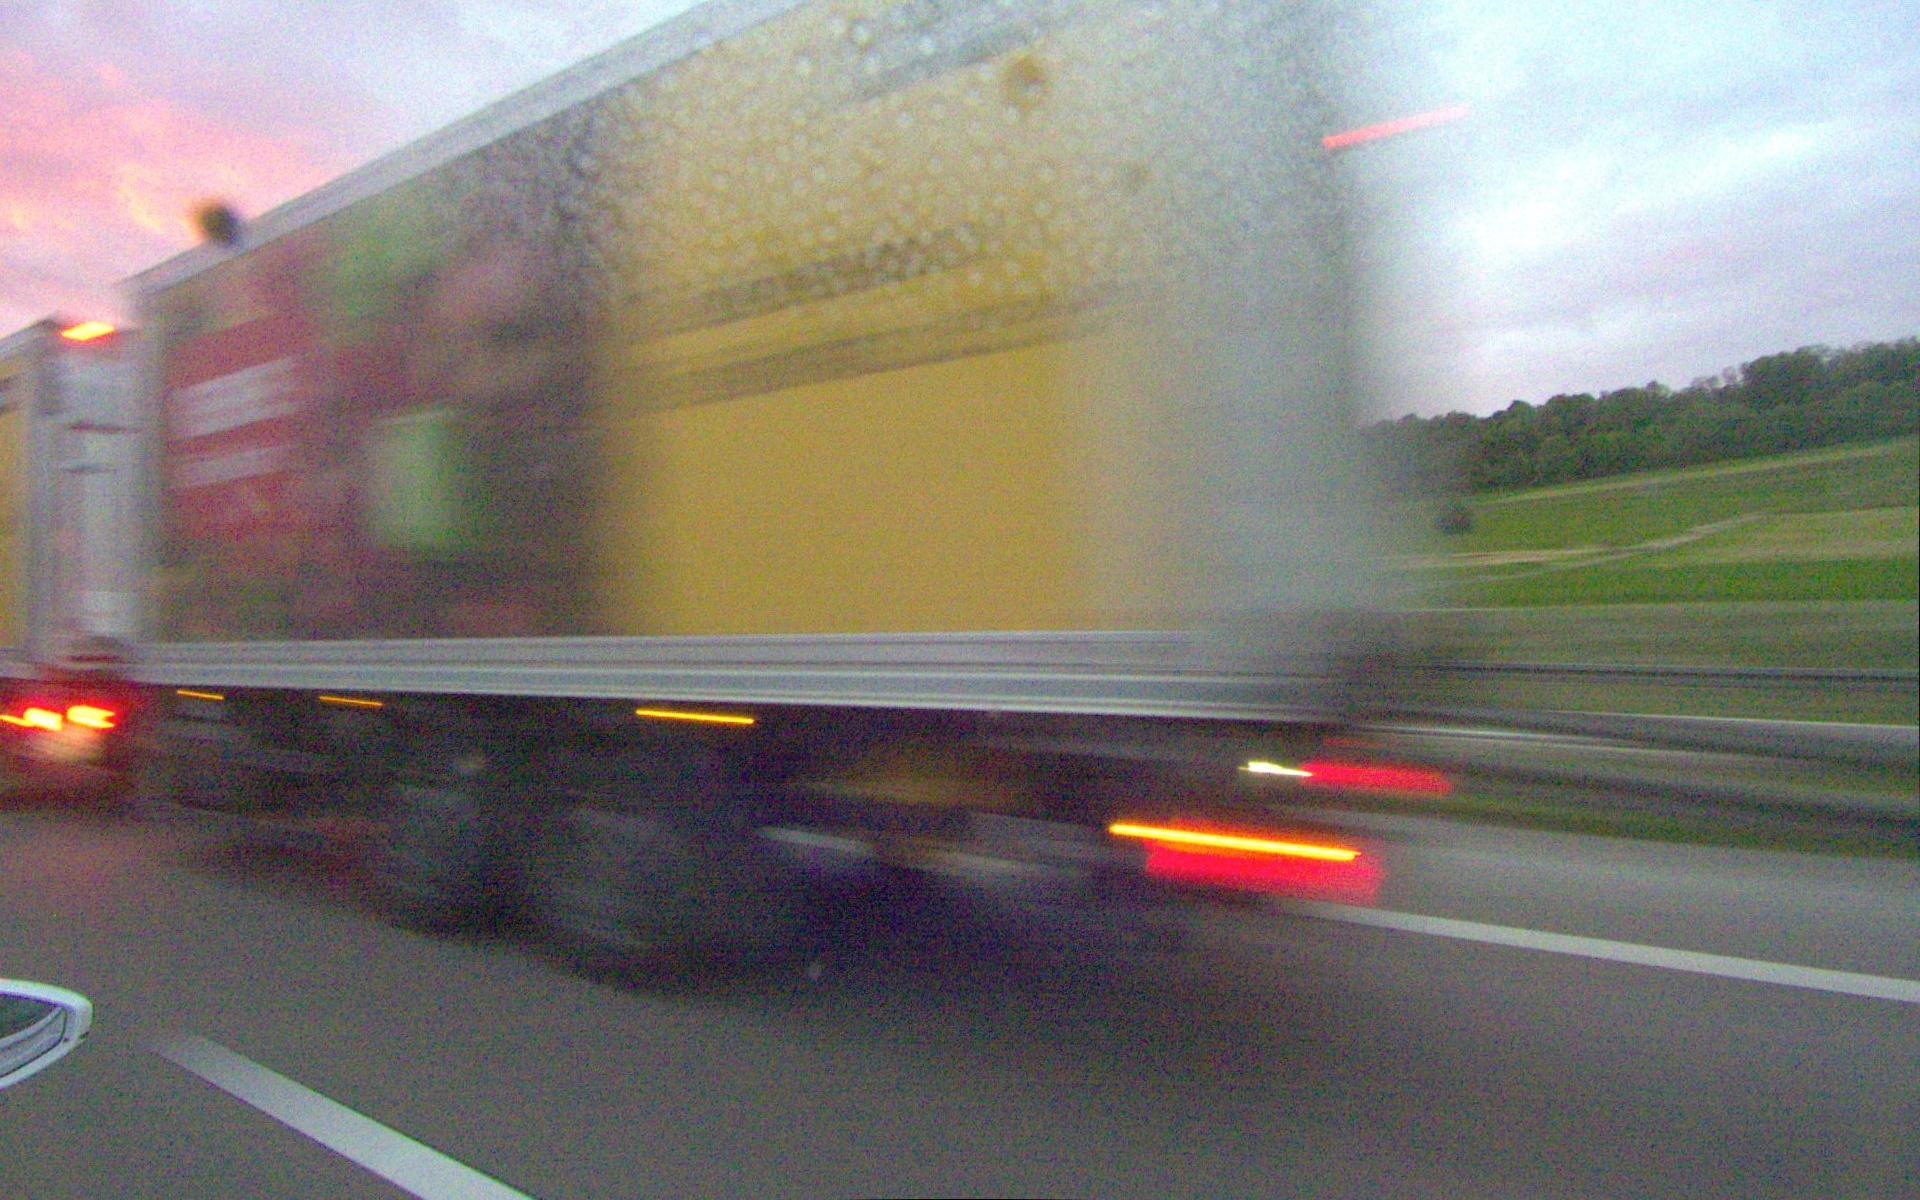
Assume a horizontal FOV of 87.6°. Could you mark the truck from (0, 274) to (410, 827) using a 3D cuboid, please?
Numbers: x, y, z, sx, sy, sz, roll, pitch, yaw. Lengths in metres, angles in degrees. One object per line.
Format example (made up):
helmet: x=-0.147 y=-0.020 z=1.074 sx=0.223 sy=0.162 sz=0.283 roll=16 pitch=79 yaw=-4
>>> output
truck: x=-10.073 y=-0.263 z=10.903 sx=10.239 sy=3.877 sz=2.611 roll=-1 pitch=0 yaw=33

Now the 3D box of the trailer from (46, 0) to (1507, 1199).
trailer: x=-1.929 y=-0.361 z=5.714 sx=8.750 sy=3.877 sz=2.611 roll=-1 pitch=0 yaw=32
